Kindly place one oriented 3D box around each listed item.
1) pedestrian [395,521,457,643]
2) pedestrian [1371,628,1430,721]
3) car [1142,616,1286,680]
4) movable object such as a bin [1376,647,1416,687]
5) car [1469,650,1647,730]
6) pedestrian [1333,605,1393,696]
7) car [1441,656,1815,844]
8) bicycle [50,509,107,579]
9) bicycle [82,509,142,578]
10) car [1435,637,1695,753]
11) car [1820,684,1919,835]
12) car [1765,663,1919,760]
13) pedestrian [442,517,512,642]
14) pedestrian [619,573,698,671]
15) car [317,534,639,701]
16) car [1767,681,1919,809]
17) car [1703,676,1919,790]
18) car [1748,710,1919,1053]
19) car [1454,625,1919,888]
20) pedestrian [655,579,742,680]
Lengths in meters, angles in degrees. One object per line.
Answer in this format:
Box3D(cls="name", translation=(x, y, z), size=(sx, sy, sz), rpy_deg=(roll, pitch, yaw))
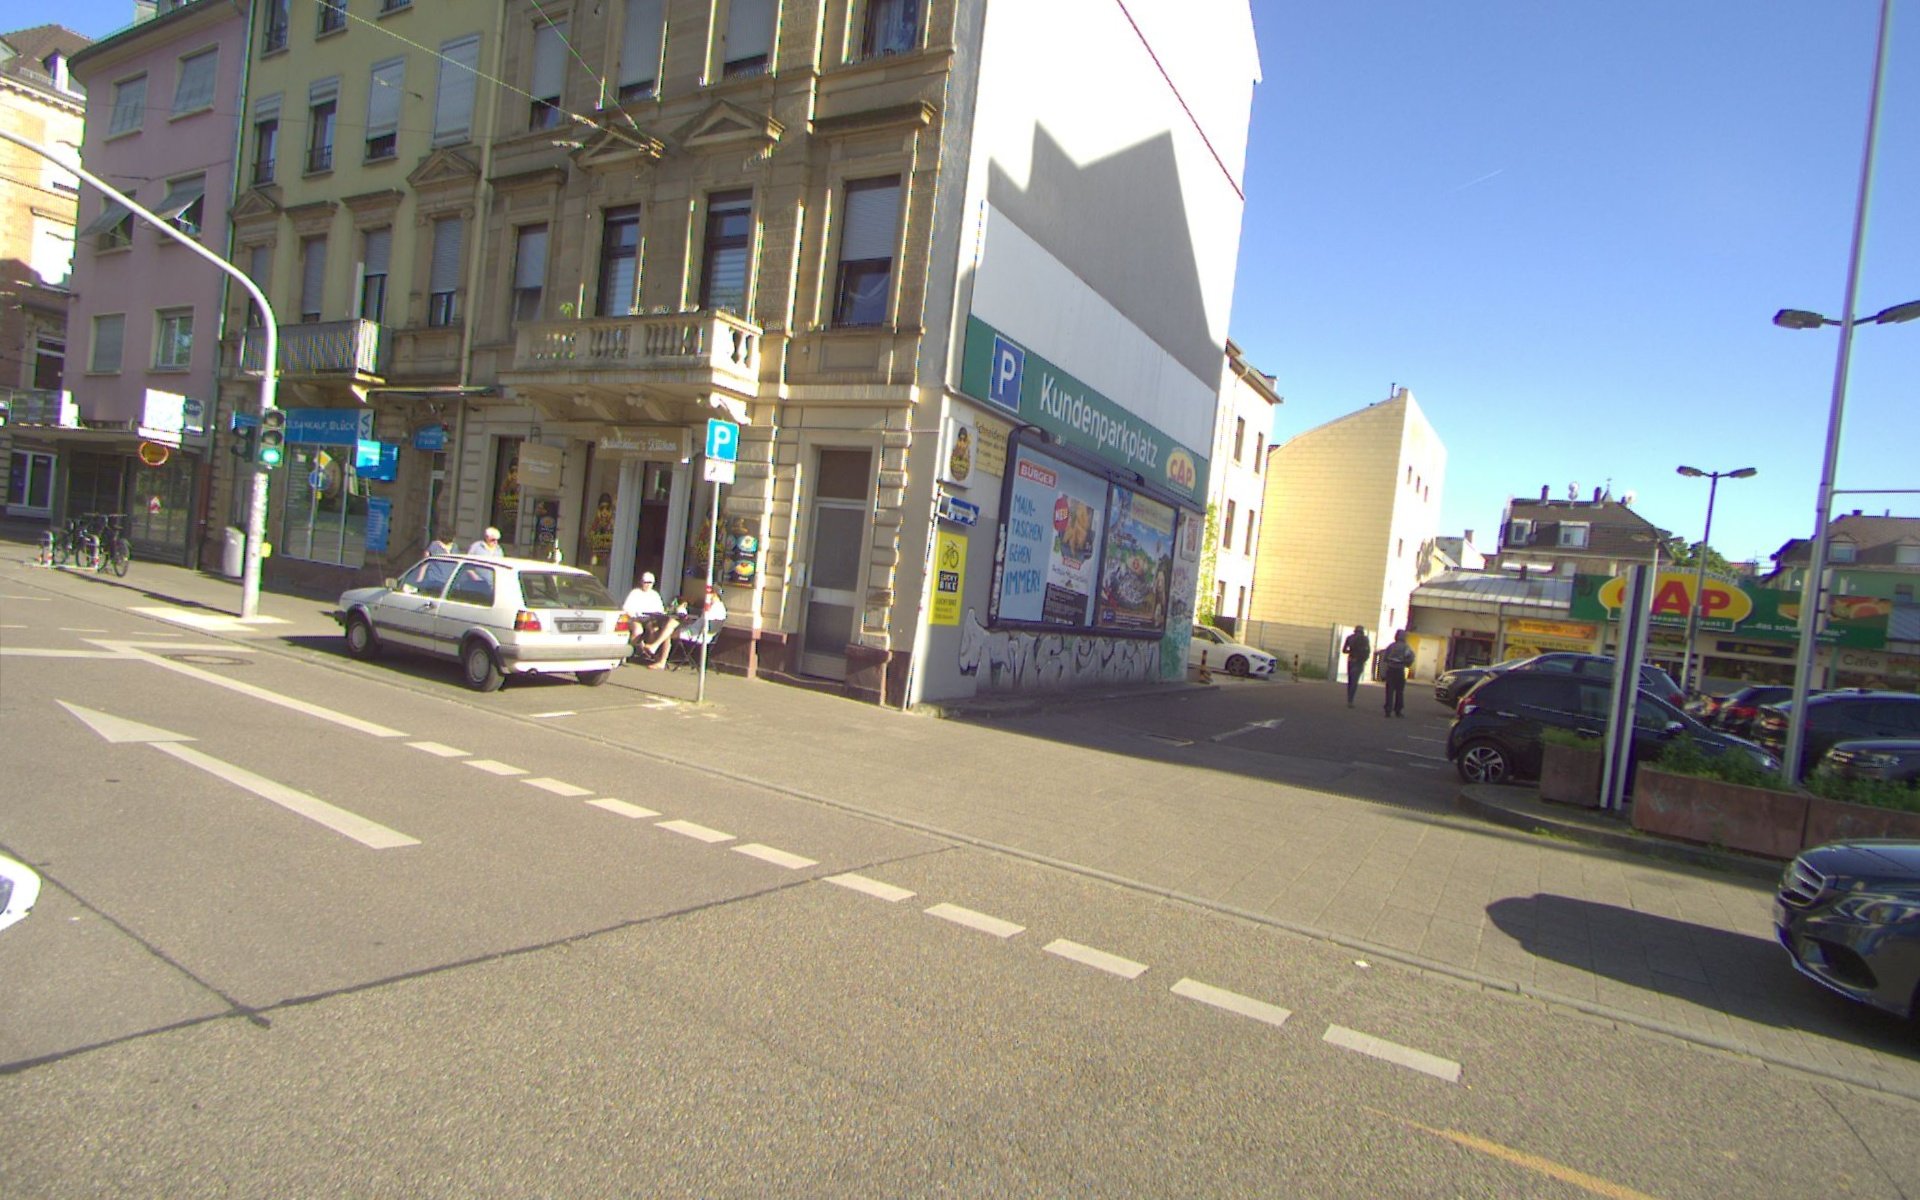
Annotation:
Box3D(cls="pedestrian", translation=(-7.889, -0.262, 14.875), size=(0.382, 1.730, 0.550), rpy_deg=(8, 2, 34))
Box3D(cls="pedestrian", translation=(8.864, 1.494, 20.266), size=(0.750, 1.778, 0.512), rpy_deg=(6, 1, -12))
Box3D(cls="car", translation=(8.002, 1.506, 31.738), size=(3.933, 1.482, 1.756), rpy_deg=(7, 1, 32))
Box3D(cls="movable object such as a bin", translation=(18.670, 2.879, 43.088), size=(1.258, 1.527, 1.174), rpy_deg=(7, 1, 31))
Box3D(cls="car", translation=(16.307, 2.419, 27.598), size=(3.933, 1.538, 1.723), rpy_deg=(7, 1, 31))
Box3D(cls="pedestrian", translation=(8.751, 1.088, 21.885), size=(0.749, 1.865, 0.747), rpy_deg=(6, 1, -6))
Box3D(cls="car", translation=(7.628, 1.641, 11.875), size=(3.336, 1.504, 1.561), rpy_deg=(7, 1, 28))
Box3D(cls="bicycle", translation=(-16.658, -1.075, 19.001), size=(1.782, 1.155, 0.414), rpy_deg=(7, 1, 38))
Box3D(cls="bicycle", translation=(-16.388, -1.099, 19.425), size=(1.731, 1.173, 0.448), rpy_deg=(7, 1, 38))
Box3D(cls="car", translation=(12.432, 1.895, 20.941), size=(4.309, 1.687, 1.756), rpy_deg=(7, 1, 32))
Box3D(cls="car", translation=(13.215, 2.156, 12.086), size=(3.931, 1.714, 1.747), rpy_deg=(7, 0, 29))
Box3D(cls="car", translation=(18.940, 2.338, 20.285), size=(3.872, 1.601, 1.658), rpy_deg=(7, 1, 31))
Box3D(cls="pedestrian", translation=(-7.357, -0.298, 15.334), size=(0.522, 1.831, 0.673), rpy_deg=(7, 3, 31))
Box3D(cls="pedestrian", translation=(-4.247, 0.297, 14.185), size=(0.598, 1.299, 0.797), rpy_deg=(7, 4, 29))
Box3D(cls="car", translation=(-5.834, 0.124, 12.032), size=(3.937, 1.435, 1.562), rpy_deg=(7, 4, 32))
Box3D(cls="car", translation=(14.239, 2.227, 14.373), size=(3.871, 1.564, 1.543), rpy_deg=(7, 1, 30))
Box3D(cls="car", translation=(16.234, 2.451, 18.468), size=(3.872, 1.564, 1.543), rpy_deg=(7, 1, 31))
Box3D(cls="car", translation=(6.851, 1.707, 4.716), size=(4.656, 1.507, 1.832), rpy_deg=(7, 3, 32))
Box3D(cls="car", translation=(6.904, 1.329, 9.458), size=(3.835, 1.667, 1.651), rpy_deg=(8, 3, 28))
Box3D(cls="pedestrian", translation=(-3.622, 0.394, 13.954), size=(0.644, 1.299, 0.901), rpy_deg=(7, 4, 27))
